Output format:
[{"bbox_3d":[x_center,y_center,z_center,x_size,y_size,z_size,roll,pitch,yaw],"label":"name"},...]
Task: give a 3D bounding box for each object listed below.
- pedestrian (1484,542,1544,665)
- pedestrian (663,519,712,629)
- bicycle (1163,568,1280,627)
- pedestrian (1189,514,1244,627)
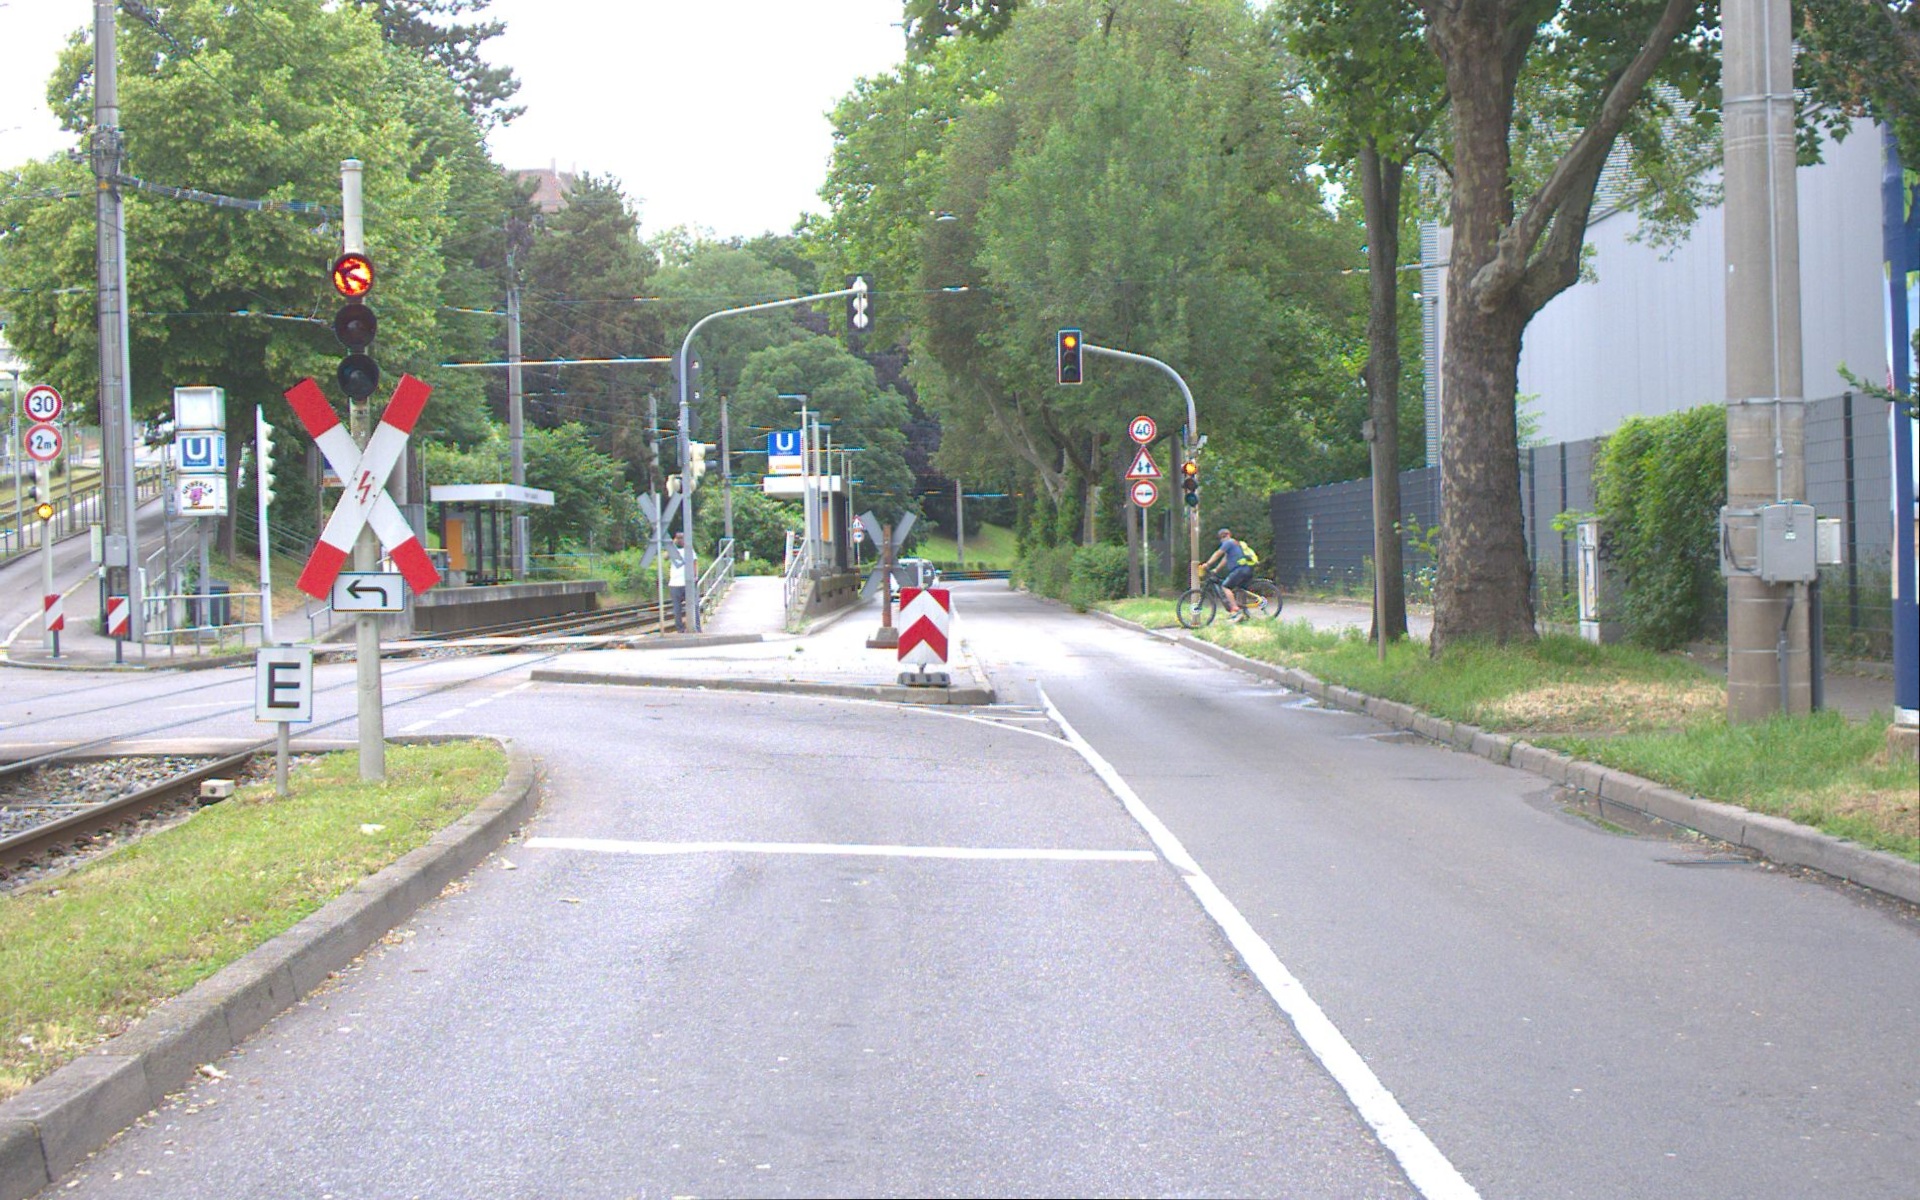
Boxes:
[{"bbox_3d":[7.155,0.038,44.405,0.666,1.548,0.934,-1,1,5],"label":"pedestrian"},{"bbox_3d":[-4.649,-0.440,58.662,0.768,1.846,0.910,-1,1,-4],"label":"pedestrian"},{"bbox_3d":[4.747,-0.048,62.419,2.075,1.003,0.668,-1,1,6],"label":"bicycle"},{"bbox_3d":[4.654,-0.539,62.428,0.931,2.007,0.668,-1,1,6],"label":"pedestrian"}]
